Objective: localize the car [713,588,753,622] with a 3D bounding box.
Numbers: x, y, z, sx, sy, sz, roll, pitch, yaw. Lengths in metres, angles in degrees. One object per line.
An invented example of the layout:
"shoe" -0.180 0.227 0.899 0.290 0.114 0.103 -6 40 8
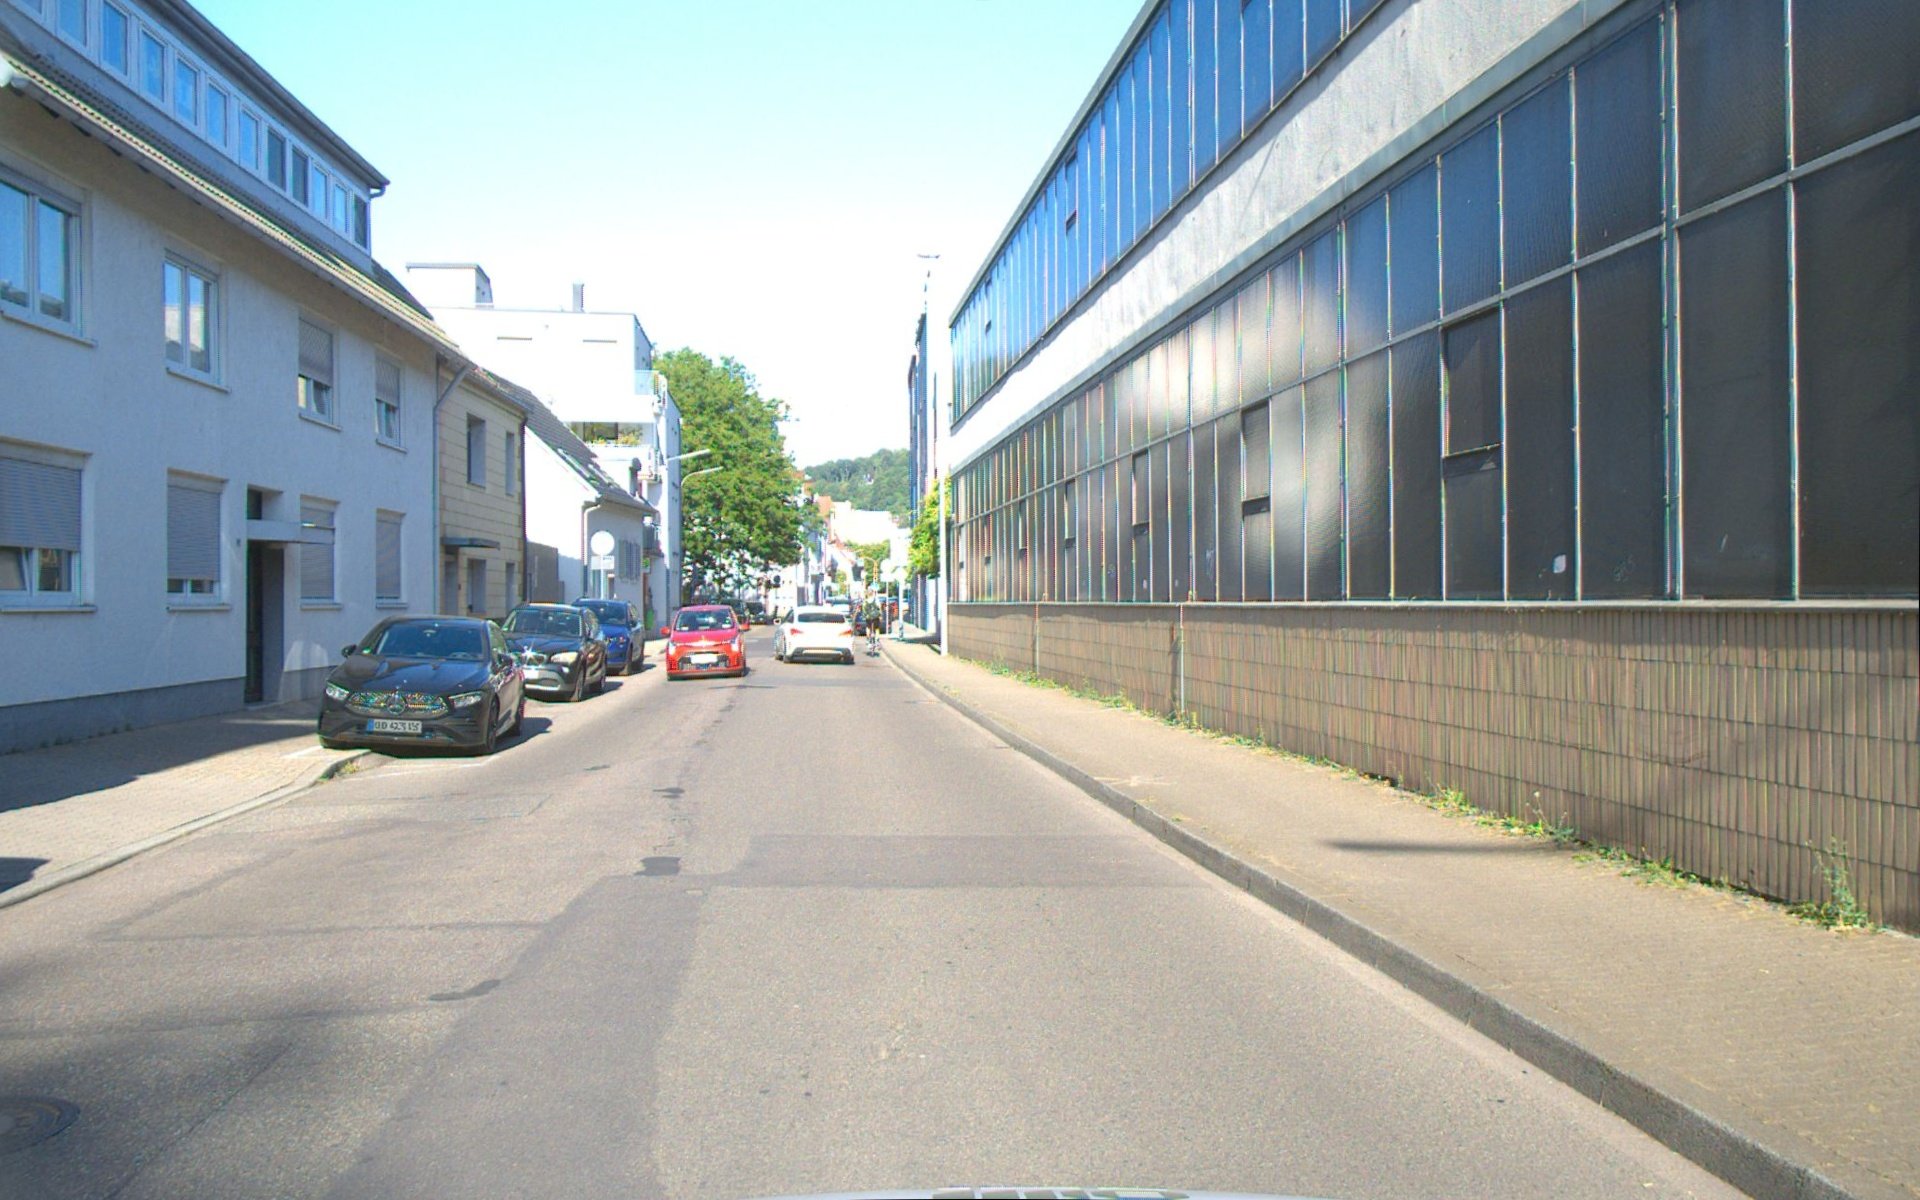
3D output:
"car" -12.669 0.270 92.486 1.816 1.822 4.604 -1 0 -4

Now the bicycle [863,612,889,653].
"bicycle" -2.444 0.927 47.958 0.684 1.150 2.400 -1 0 -4

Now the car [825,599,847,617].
"car" -12.489 0.816 166.988 1.906 1.614 4.619 -5 0 -2

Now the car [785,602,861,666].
"car" -3.542 0.833 42.325 1.807 1.517 4.138 -1 0 -6

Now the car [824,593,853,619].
"car" -9.008 0.428 122.461 1.818 1.822 4.600 -1 0 -7

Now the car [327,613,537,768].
"car" -5.926 0.932 19.010 1.653 1.562 4.325 0 0 -9

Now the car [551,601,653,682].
"car" -8.091 0.896 37.694 1.774 1.614 4.188 0 2 -6

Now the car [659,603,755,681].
"car" -5.344 0.846 35.331 1.807 1.517 4.139 -1 0 -6

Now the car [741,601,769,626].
"car" -13.727 0.882 110.889 1.671 1.603 3.909 -1 0 -6

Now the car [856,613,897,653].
"car" -3.850 1.497 75.870 1.598 1.614 4.064 -5 0 -6

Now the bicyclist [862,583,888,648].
"bicyclist" -2.456 0.446 47.881 0.684 1.821 1.040 -1 0 -4

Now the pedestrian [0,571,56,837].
"pedestrian" -7.114 0.716 11.528 0.843 1.850 1.132 2 0 18

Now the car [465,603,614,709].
"car" -7.260 0.908 28.922 1.821 1.614 4.332 0 1 -5
